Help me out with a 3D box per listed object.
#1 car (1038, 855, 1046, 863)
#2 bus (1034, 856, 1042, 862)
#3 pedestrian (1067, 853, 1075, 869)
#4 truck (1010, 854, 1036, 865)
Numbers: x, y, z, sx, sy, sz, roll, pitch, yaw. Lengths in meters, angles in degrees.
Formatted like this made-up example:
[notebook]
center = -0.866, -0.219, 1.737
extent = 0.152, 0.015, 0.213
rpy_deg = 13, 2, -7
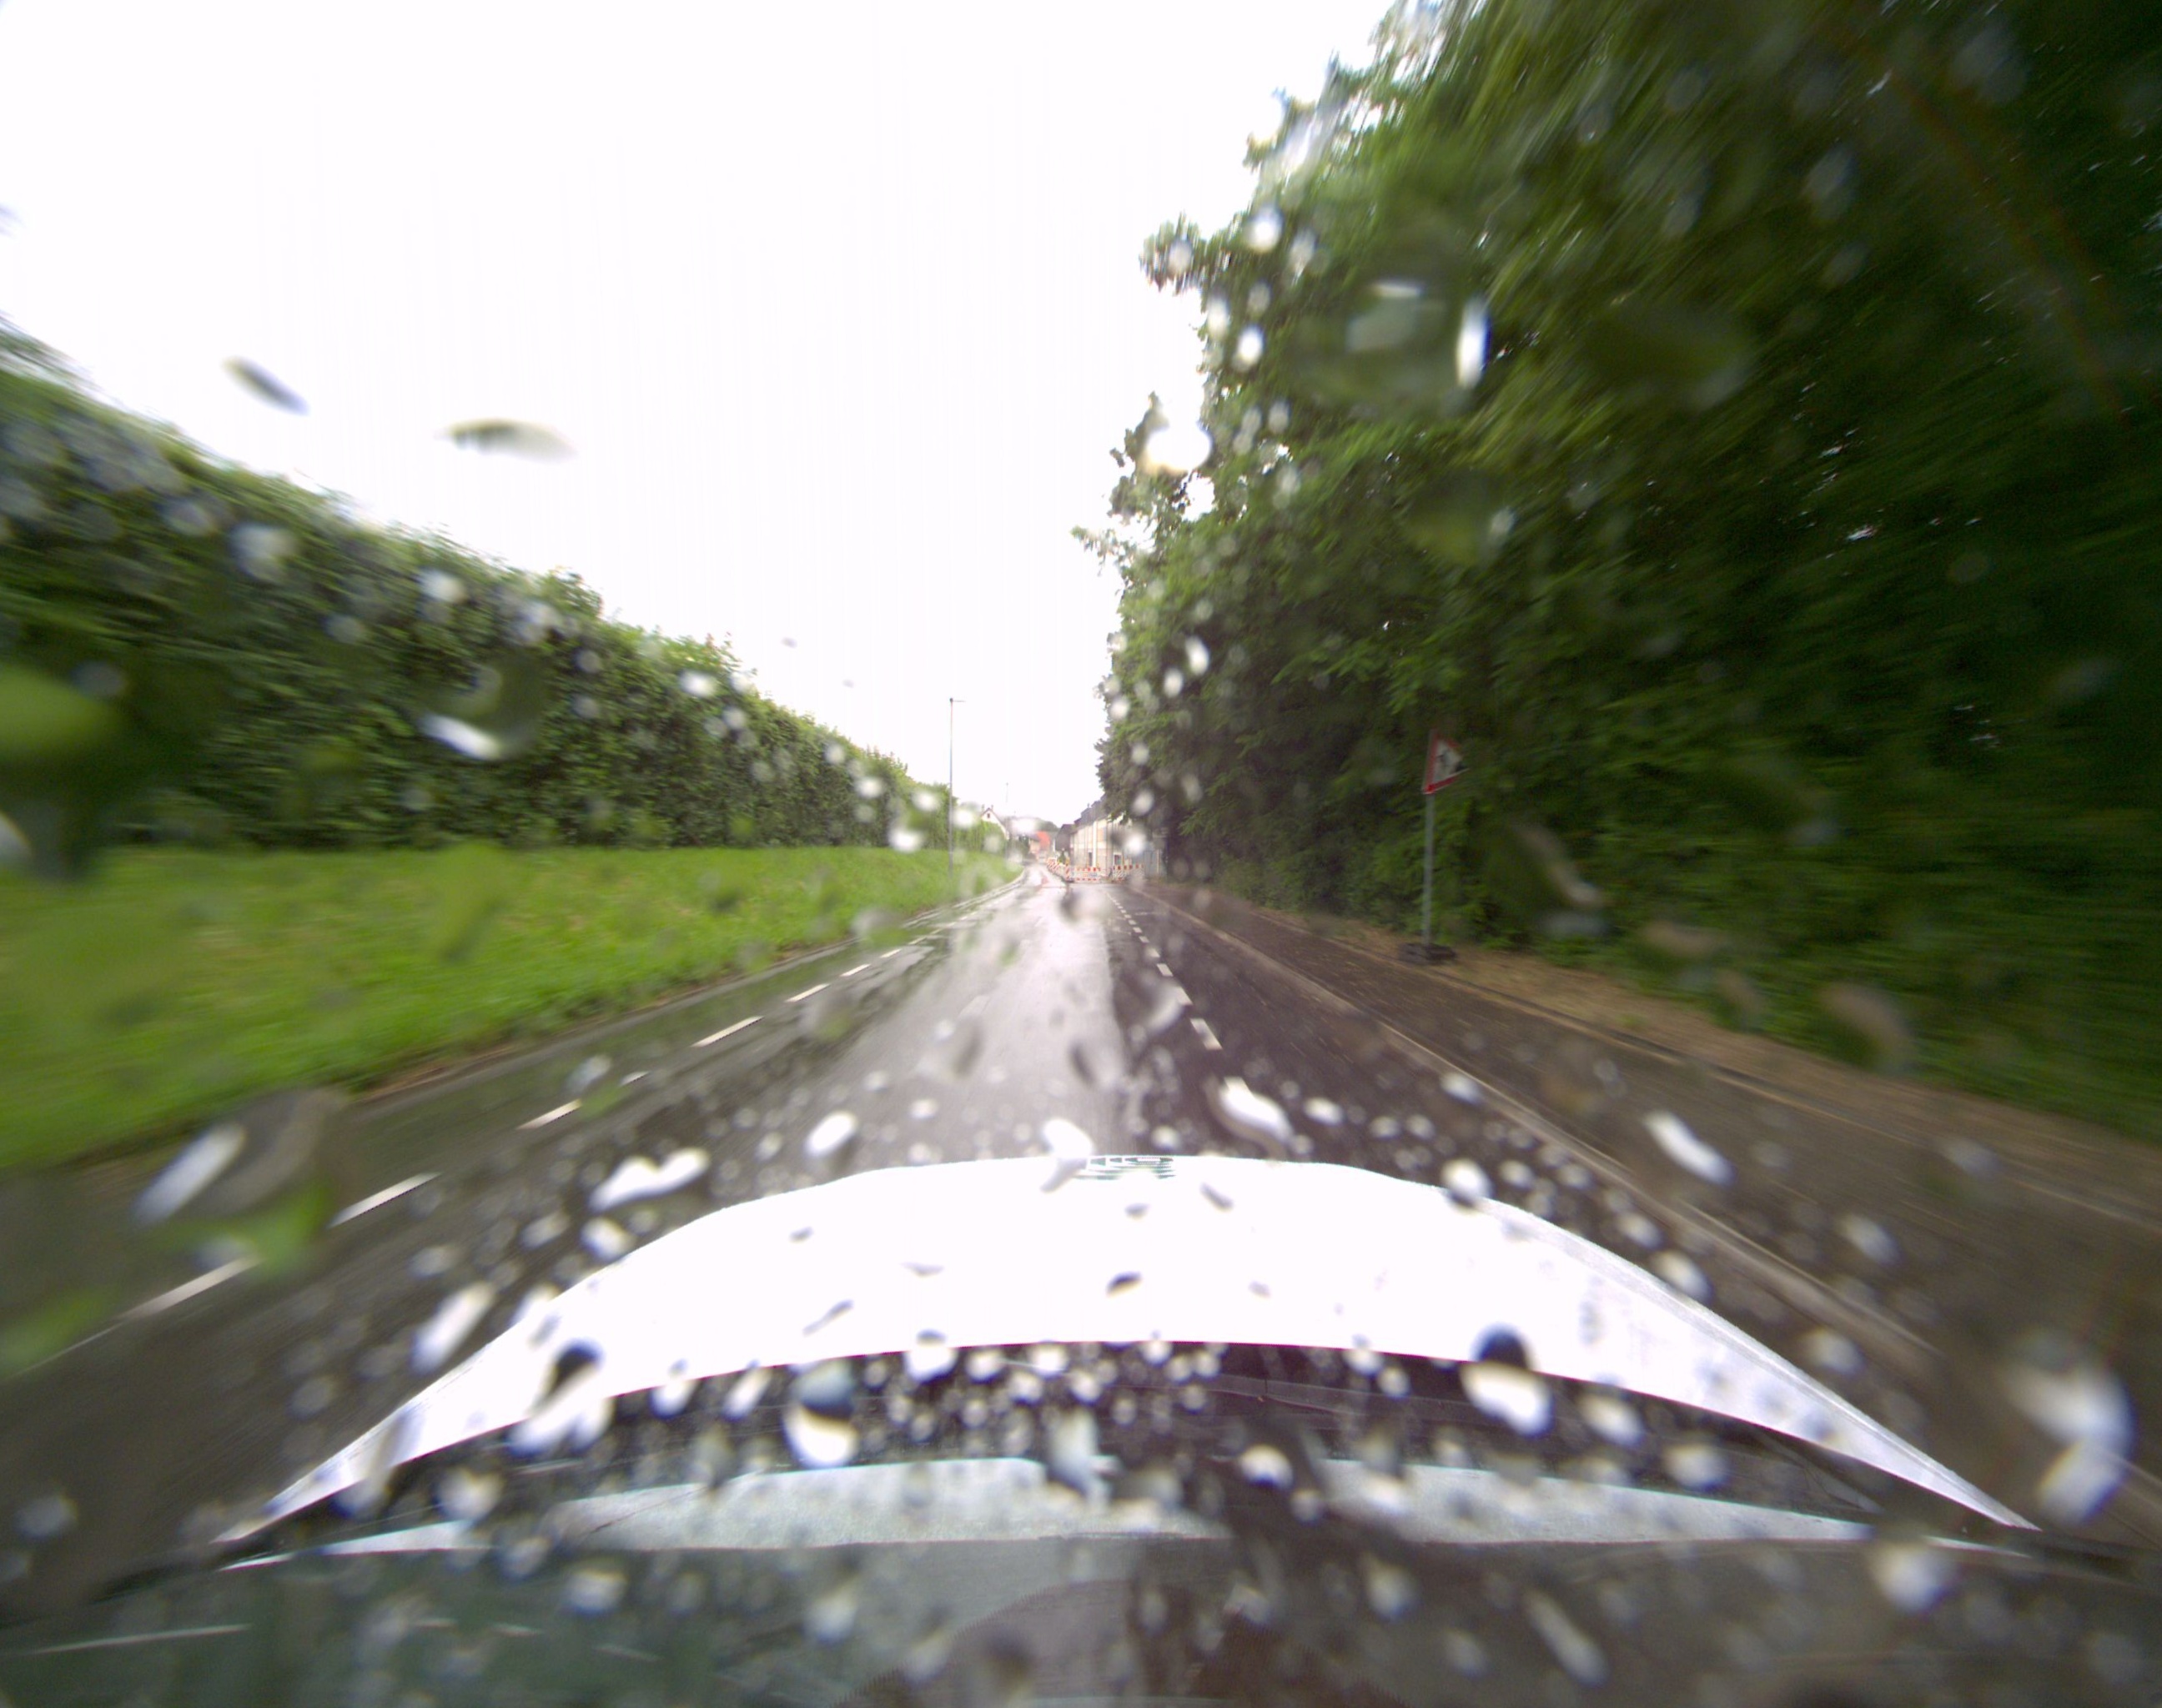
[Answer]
[car]
center = -8.781, 1.039, 182.685
extent = 1.814, 1.642, 4.090
rpy_deg = -2, 0, -3
[bus]
center = -10.638, 1.144, 200.889
extent = 1.789, 1.410, 3.998
rpy_deg = 2, -1, -1
[pedestrian]
center = -1.080, 0.739, 89.247
extent = 0.665, 1.755, 0.810
rpy_deg = -2, 0, -8
[truck]
center = -11.395, 0.985, 159.246
extent = 4.882, 2.013, 1.996
rpy_deg = 1, 1, -6
